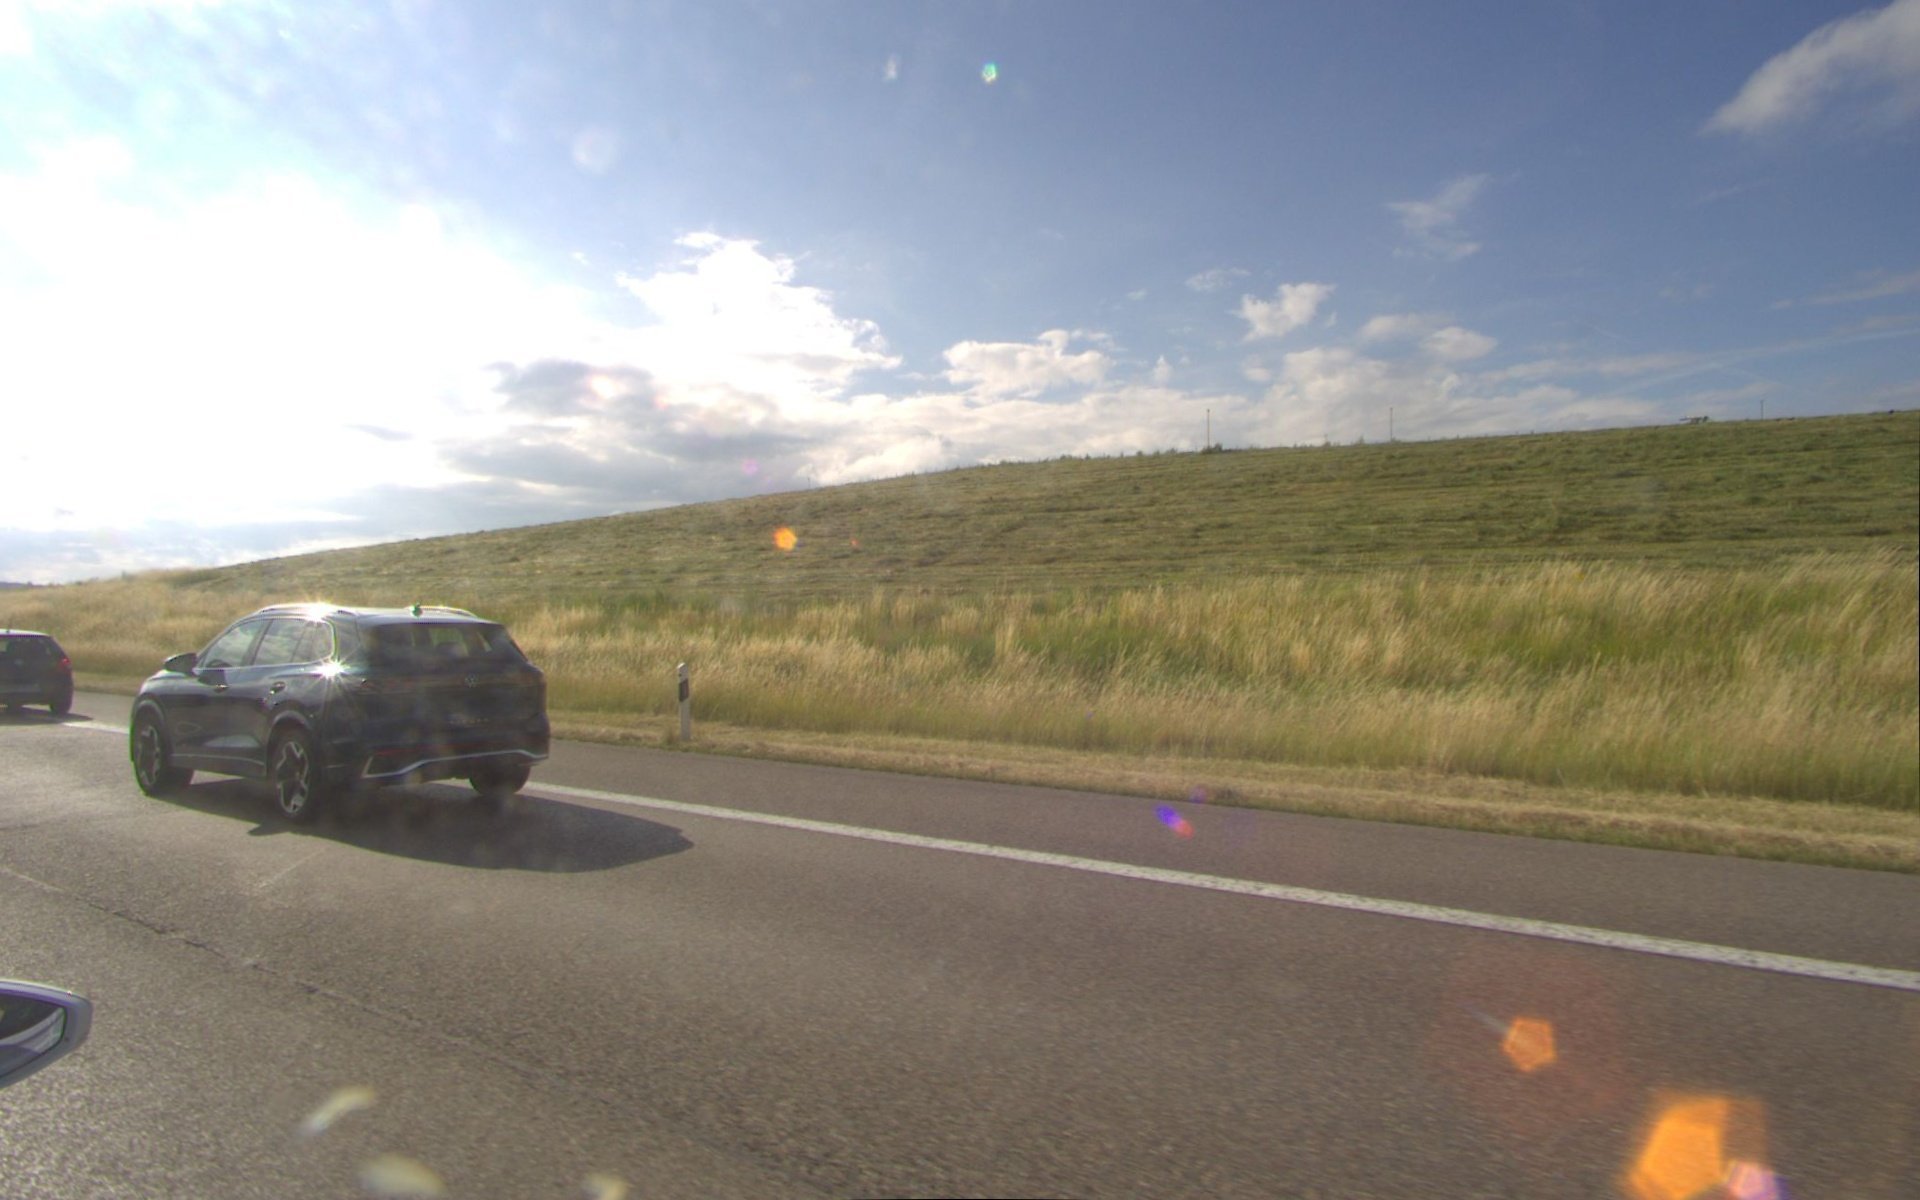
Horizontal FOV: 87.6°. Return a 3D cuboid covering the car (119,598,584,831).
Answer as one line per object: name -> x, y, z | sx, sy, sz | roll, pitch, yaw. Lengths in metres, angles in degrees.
car -> -5.456, 0.874, 8.862 | 4.174, 1.621, 1.819 | -1, -3, 32

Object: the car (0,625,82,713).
car -> -17.120, 1.172, 17.633 | 3.621, 1.438, 1.602 | -1, -1, 33
